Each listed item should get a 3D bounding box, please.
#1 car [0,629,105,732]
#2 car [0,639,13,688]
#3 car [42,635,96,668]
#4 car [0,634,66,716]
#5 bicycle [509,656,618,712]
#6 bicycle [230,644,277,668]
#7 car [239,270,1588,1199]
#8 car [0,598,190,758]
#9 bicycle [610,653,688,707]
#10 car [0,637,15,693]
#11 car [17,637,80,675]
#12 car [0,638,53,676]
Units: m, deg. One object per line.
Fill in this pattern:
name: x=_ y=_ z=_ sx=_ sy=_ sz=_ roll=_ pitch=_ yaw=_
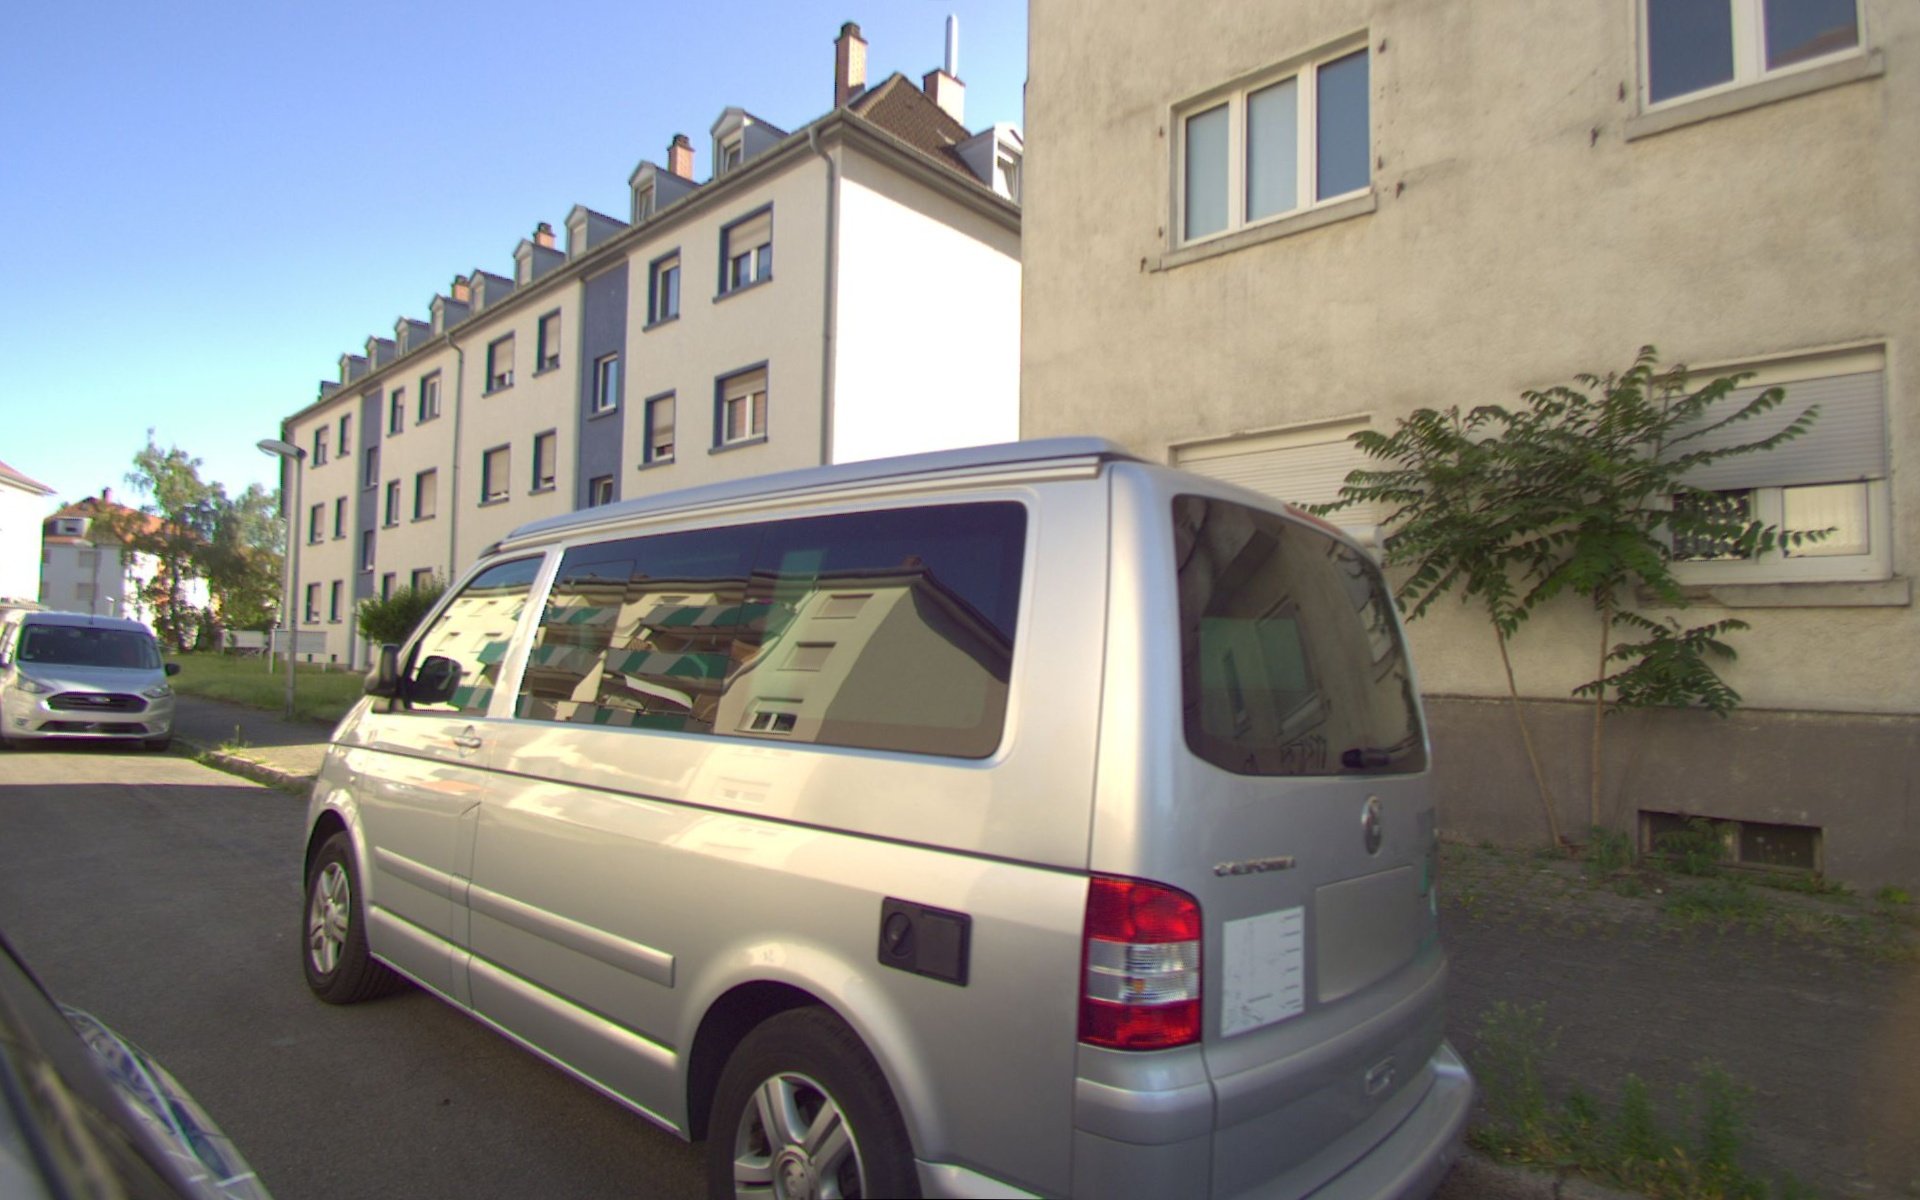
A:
car: x=-16.616 y=1.364 z=17.816 sx=4.163 sy=1.603 sz=1.655 roll=-2 pitch=-8 yaw=42
car: x=-32.195 y=1.994 z=33.016 sx=1.721 sy=1.528 sz=3.986 roll=8 pitch=-7 yaw=-43
car: x=-48.985 y=2.853 z=55.694 sx=1.615 sy=1.653 sz=3.657 roll=7 pitch=-6 yaw=-34
car: x=-19.766 y=1.480 z=20.761 sx=3.702 sy=1.530 sz=1.626 roll=-2 pitch=-8 yaw=42
bicycle: x=-7.954 y=1.665 z=20.382 sx=0.500 sy=0.969 sz=2.046 roll=-2 pitch=-1 yaw=42
bicycle: x=-31.814 y=2.523 z=45.587 sx=1.707 sy=0.997 sz=0.463 roll=-1 pitch=-1 yaw=-34
car: x=-0.719 y=0.650 z=3.685 sx=4.854 sy=1.948 sz=1.930 roll=-2 pitch=-6 yaw=42
car: x=-12.352 y=1.044 z=13.947 sx=4.948 sy=1.844 sz=1.780 roll=-2 pitch=-7 yaw=43
bicycle: x=-6.141 y=1.543 z=19.903 sx=2.074 sy=0.969 sz=0.493 roll=-2 pitch=-1 yaw=43
car: x=-27.813 y=1.717 z=28.129 sx=4.397 sy=1.470 sz=1.879 roll=-2 pitch=-7 yaw=44
car: x=-45.114 y=2.785 z=50.155 sx=1.615 sy=1.715 sz=3.658 roll=6 pitch=-6 yaw=-33
car: x=-42.213 y=2.558 z=45.444 sx=1.615 sy=1.559 sz=3.657 roll=7 pitch=-6 yaw=-34
